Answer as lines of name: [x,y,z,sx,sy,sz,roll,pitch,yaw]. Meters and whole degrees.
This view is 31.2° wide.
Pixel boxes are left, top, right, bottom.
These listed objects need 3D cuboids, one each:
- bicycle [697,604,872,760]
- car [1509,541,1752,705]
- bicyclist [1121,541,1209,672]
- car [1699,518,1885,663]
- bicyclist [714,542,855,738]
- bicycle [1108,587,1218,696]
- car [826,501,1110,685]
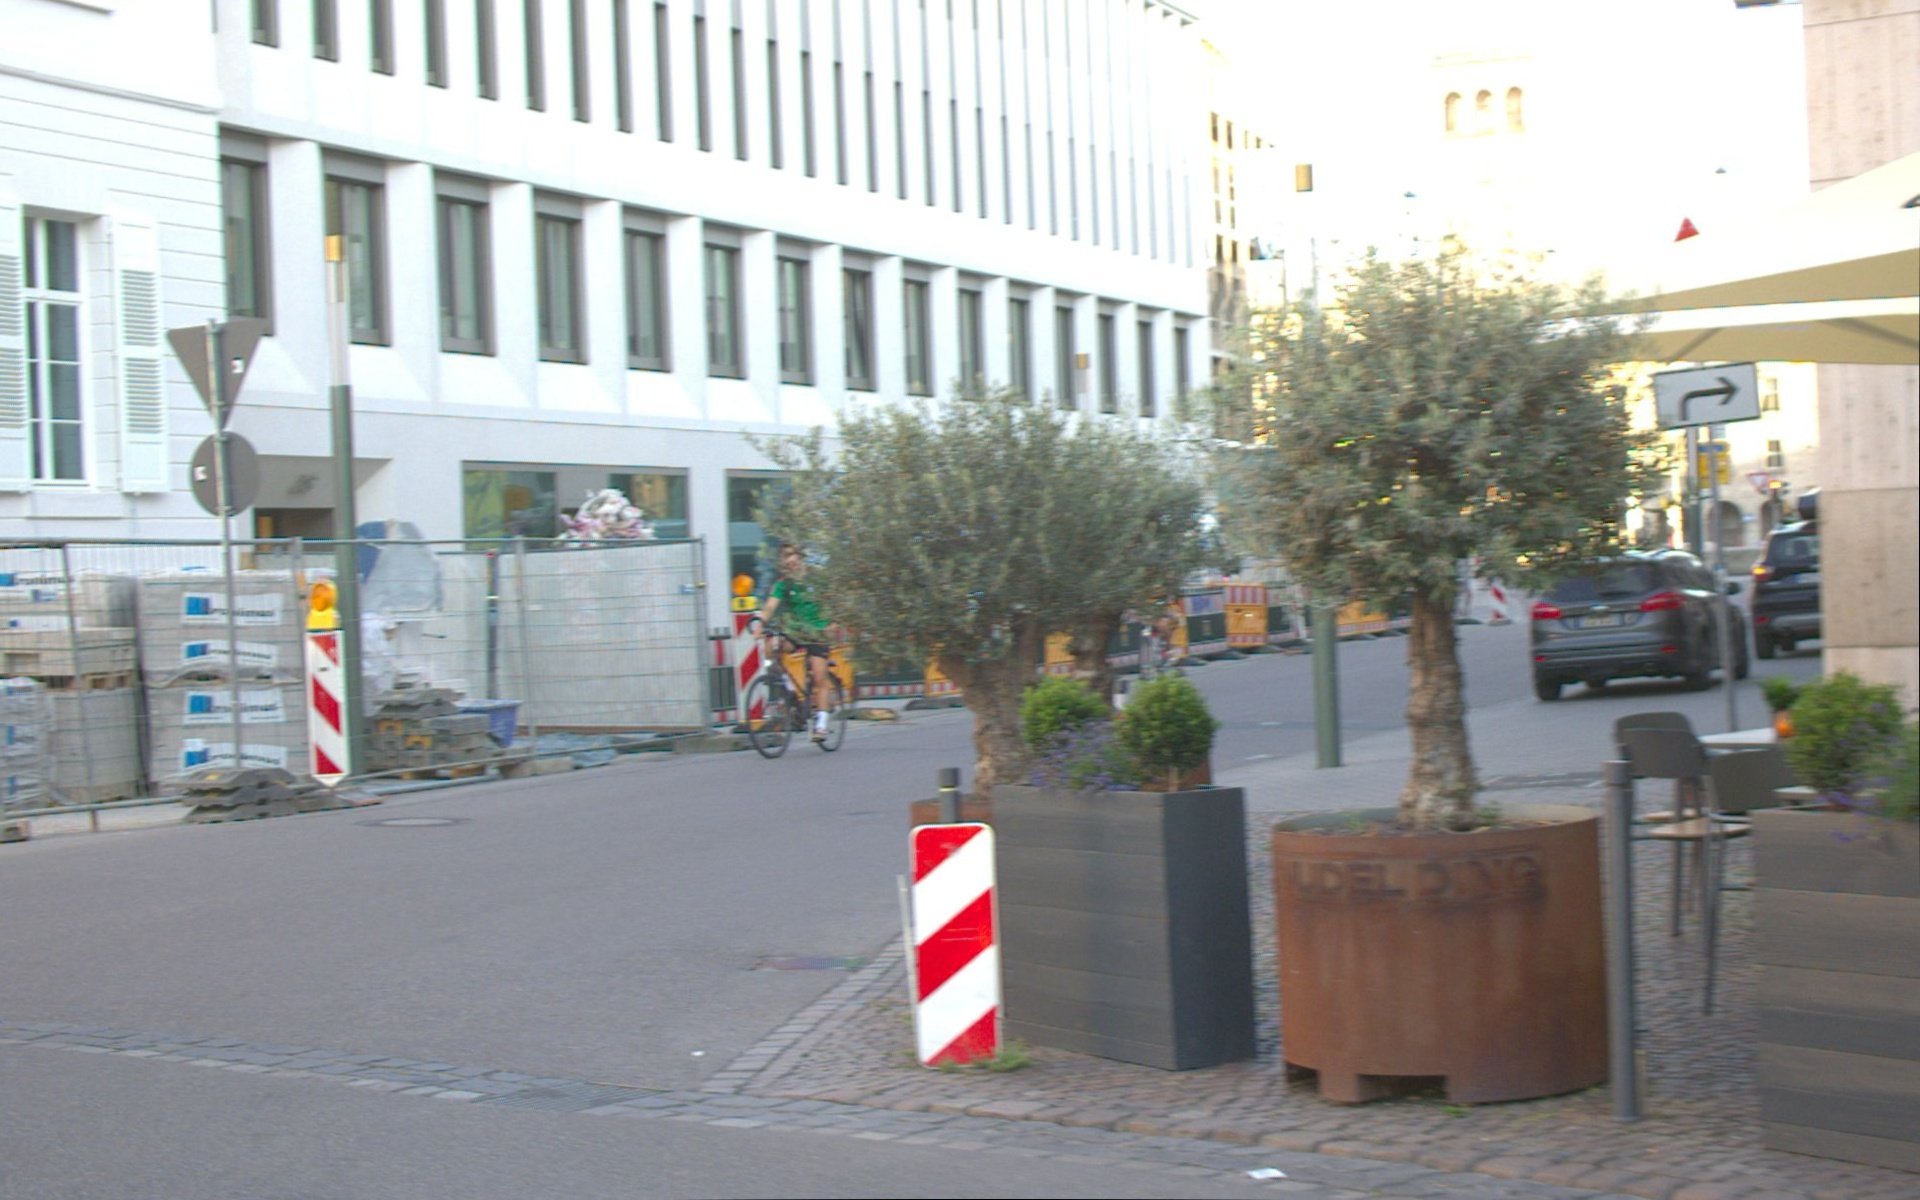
bicycle: [-1.465,0.673,29.138,0.797,1.213,2.232,-2,1,15]
car: [7.154,0.203,36.370,1.797,1.485,4.189,-5,-1,20]
bicyclist: [2.461,0.068,41.238,0.797,1.527,0.973,-2,1,17]
car: [10.730,-0.149,44.148,1.770,1.632,4.053,-5,-1,20]
bicyclist: [-1.475,0.326,29.142,0.797,1.597,1.230,-2,1,15]
bicycle: [2.450,0.483,41.219,0.797,1.213,2.231,-2,1,17]
car: [0.218,-0.152,49.888,2.175,2.462,5.993,-2,1,20]
